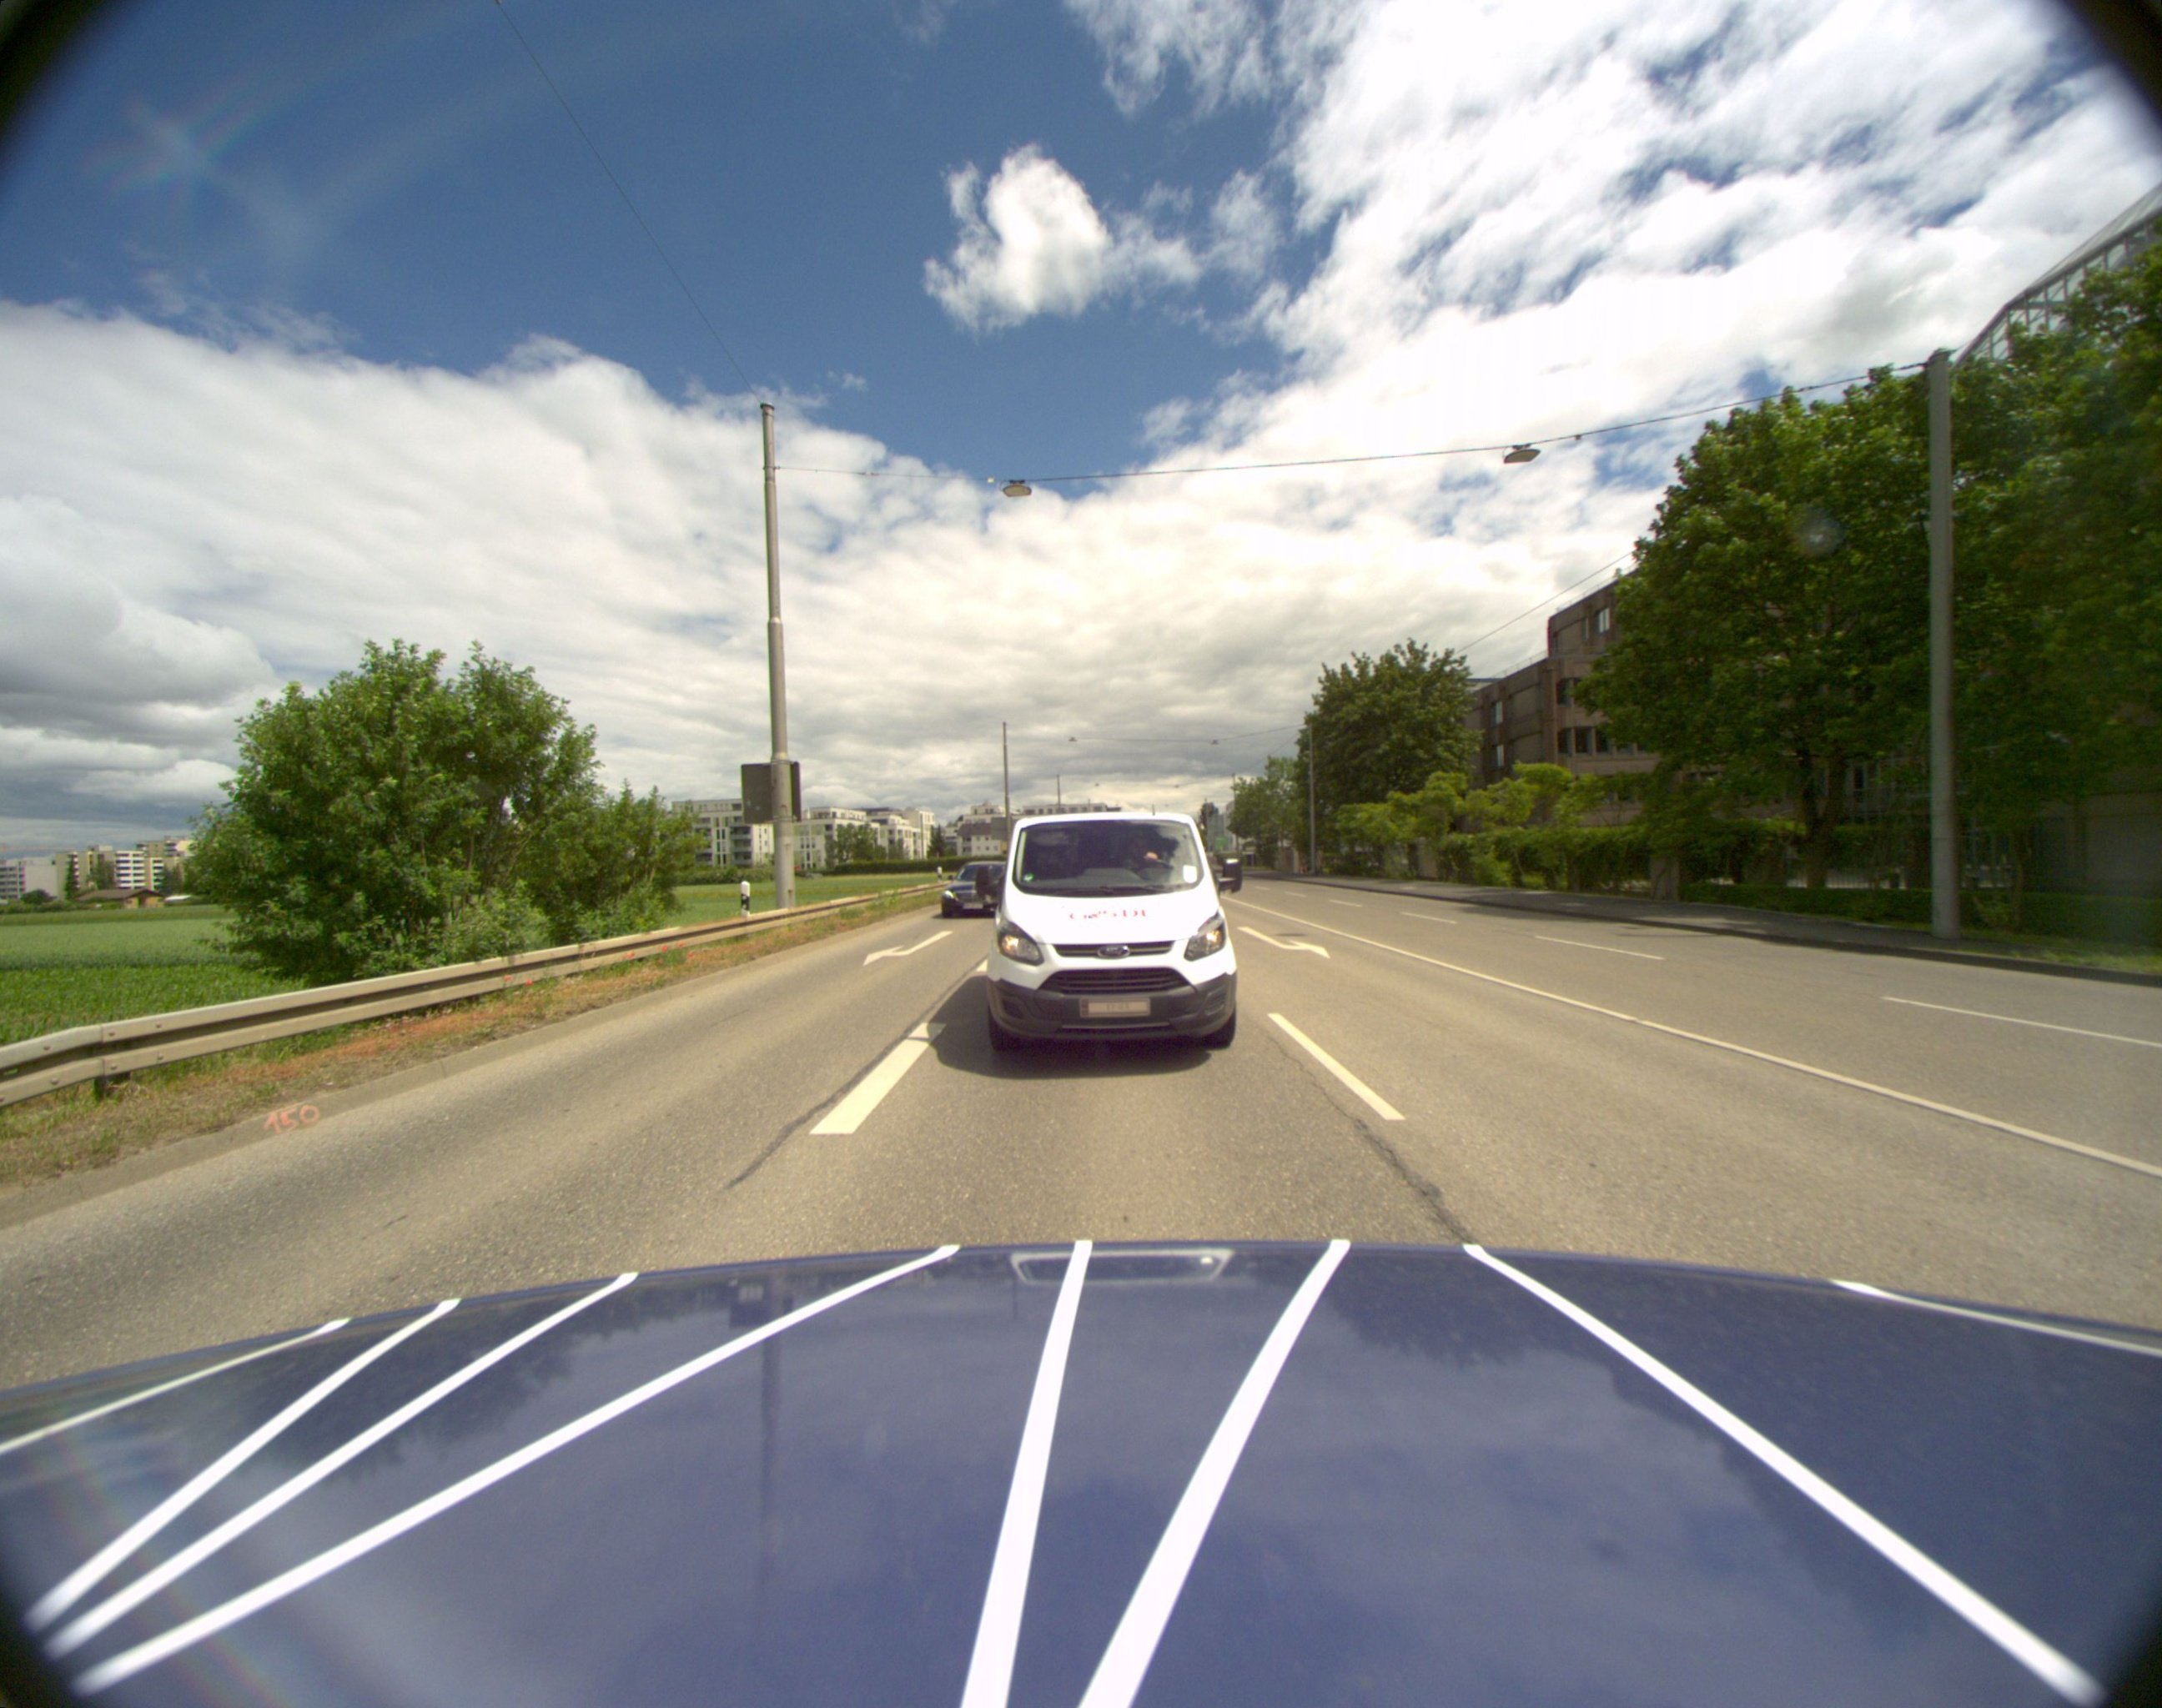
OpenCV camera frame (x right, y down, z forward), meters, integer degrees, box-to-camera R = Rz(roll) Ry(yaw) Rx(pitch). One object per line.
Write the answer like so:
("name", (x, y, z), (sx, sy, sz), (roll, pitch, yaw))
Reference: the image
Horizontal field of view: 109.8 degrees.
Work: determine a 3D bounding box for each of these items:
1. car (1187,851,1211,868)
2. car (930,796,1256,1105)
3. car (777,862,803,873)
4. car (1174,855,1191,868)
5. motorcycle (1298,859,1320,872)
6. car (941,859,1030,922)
("car", (12.094, 0.507, 78.198), (1.872, 1.605, 4.572), (-1, 1, 3))
("car", (0.278, 0.652, 7.700), (1.998, 1.906, 5.884), (-1, -1, 4))
("car", (-59.047, 2.756, 154.380), (4.436, 2.002, 2.000), (-1, 1, 2))
("car", (13.788, 1.052, 103.707), (1.801, 1.576, 4.313), (-2, 1, 1))
("motorcycle", (22.026, 1.091, 73.483), (1.905, 1.237, 0.746), (-1, 1, 1))
("car", (-2.569, 0.992, 21.625), (1.842, 1.528, 4.807), (-2, -2, 1))
